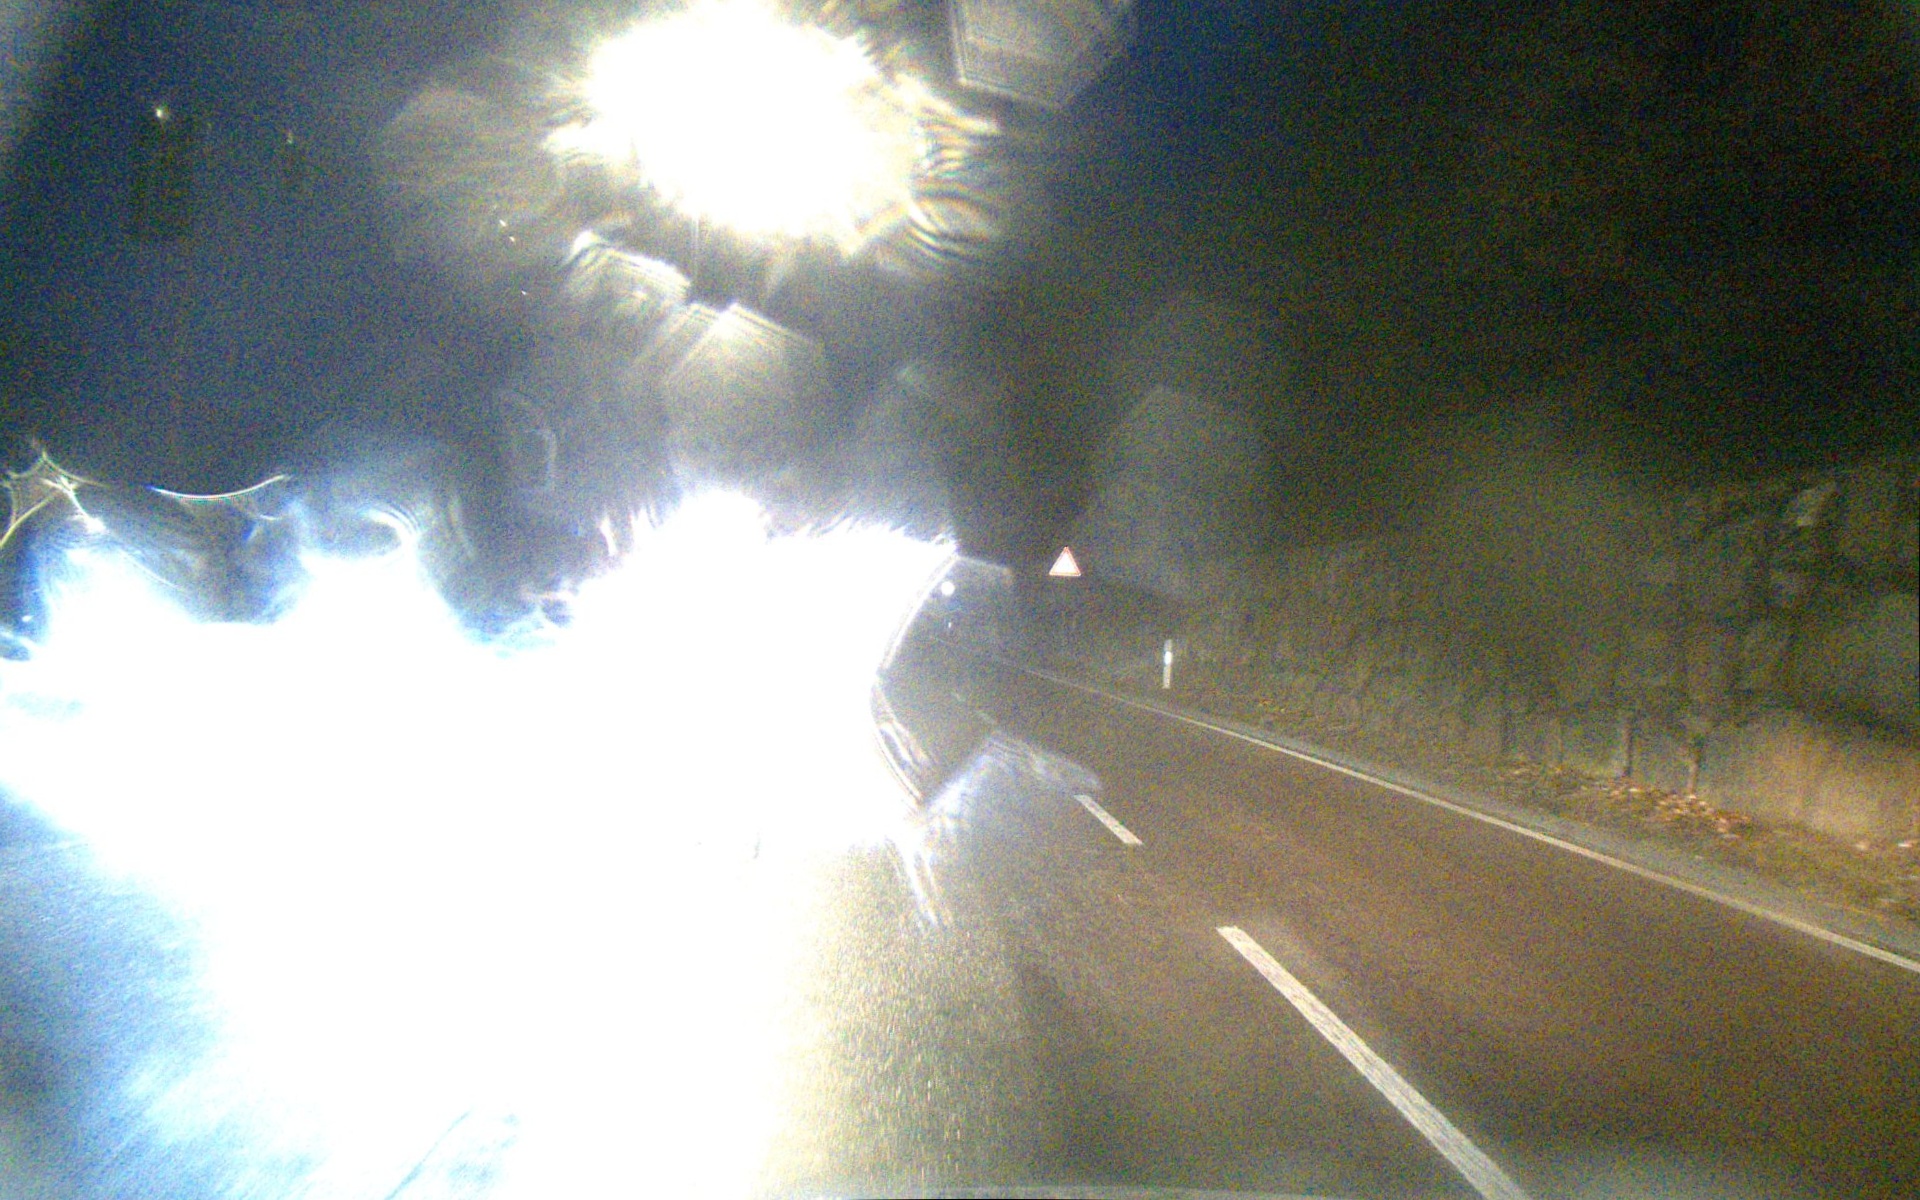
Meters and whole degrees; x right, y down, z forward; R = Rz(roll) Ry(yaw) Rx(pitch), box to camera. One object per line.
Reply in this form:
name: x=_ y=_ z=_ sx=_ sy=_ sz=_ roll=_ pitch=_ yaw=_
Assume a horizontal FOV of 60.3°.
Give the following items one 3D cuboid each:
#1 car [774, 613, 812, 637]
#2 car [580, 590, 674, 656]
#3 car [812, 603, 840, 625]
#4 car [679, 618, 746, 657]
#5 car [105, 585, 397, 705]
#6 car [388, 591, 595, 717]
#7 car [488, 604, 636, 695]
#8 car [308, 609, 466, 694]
car: x=-11.480 y=1.702 z=113.709 sx=2.040 sy=1.570 sz=4.898 roll=0 pitch=0 yaw=1
car: x=-10.932 y=0.728 z=54.598 sx=2.110 sy=2.049 sz=4.994 roll=1 pitch=0 yaw=-1
car: x=-11.584 y=1.205 z=143.442 sx=1.952 sy=1.897 sz=5.319 roll=0 pitch=0 yaw=1
car: x=-10.955 y=1.646 z=73.627 sx=2.137 sy=1.586 sz=5.204 roll=0 pitch=0 yaw=1
car: x=-10.437 y=0.622 z=24.879 sx=2.311 sy=1.583 sz=5.157 roll=1 pitch=0 yaw=-2
car: x=-7.088 y=0.798 z=25.582 sx=1.954 sy=1.728 sz=5.009 roll=1 pitch=-1 yaw=-3
car: x=-7.569 y=0.922 z=31.873 sx=1.918 sy=1.598 sz=4.464 roll=1 pitch=-1 yaw=-3
car: x=-10.798 y=0.950 z=31.427 sx=1.786 sy=1.478 sz=3.600 roll=1 pitch=-1 yaw=-1
